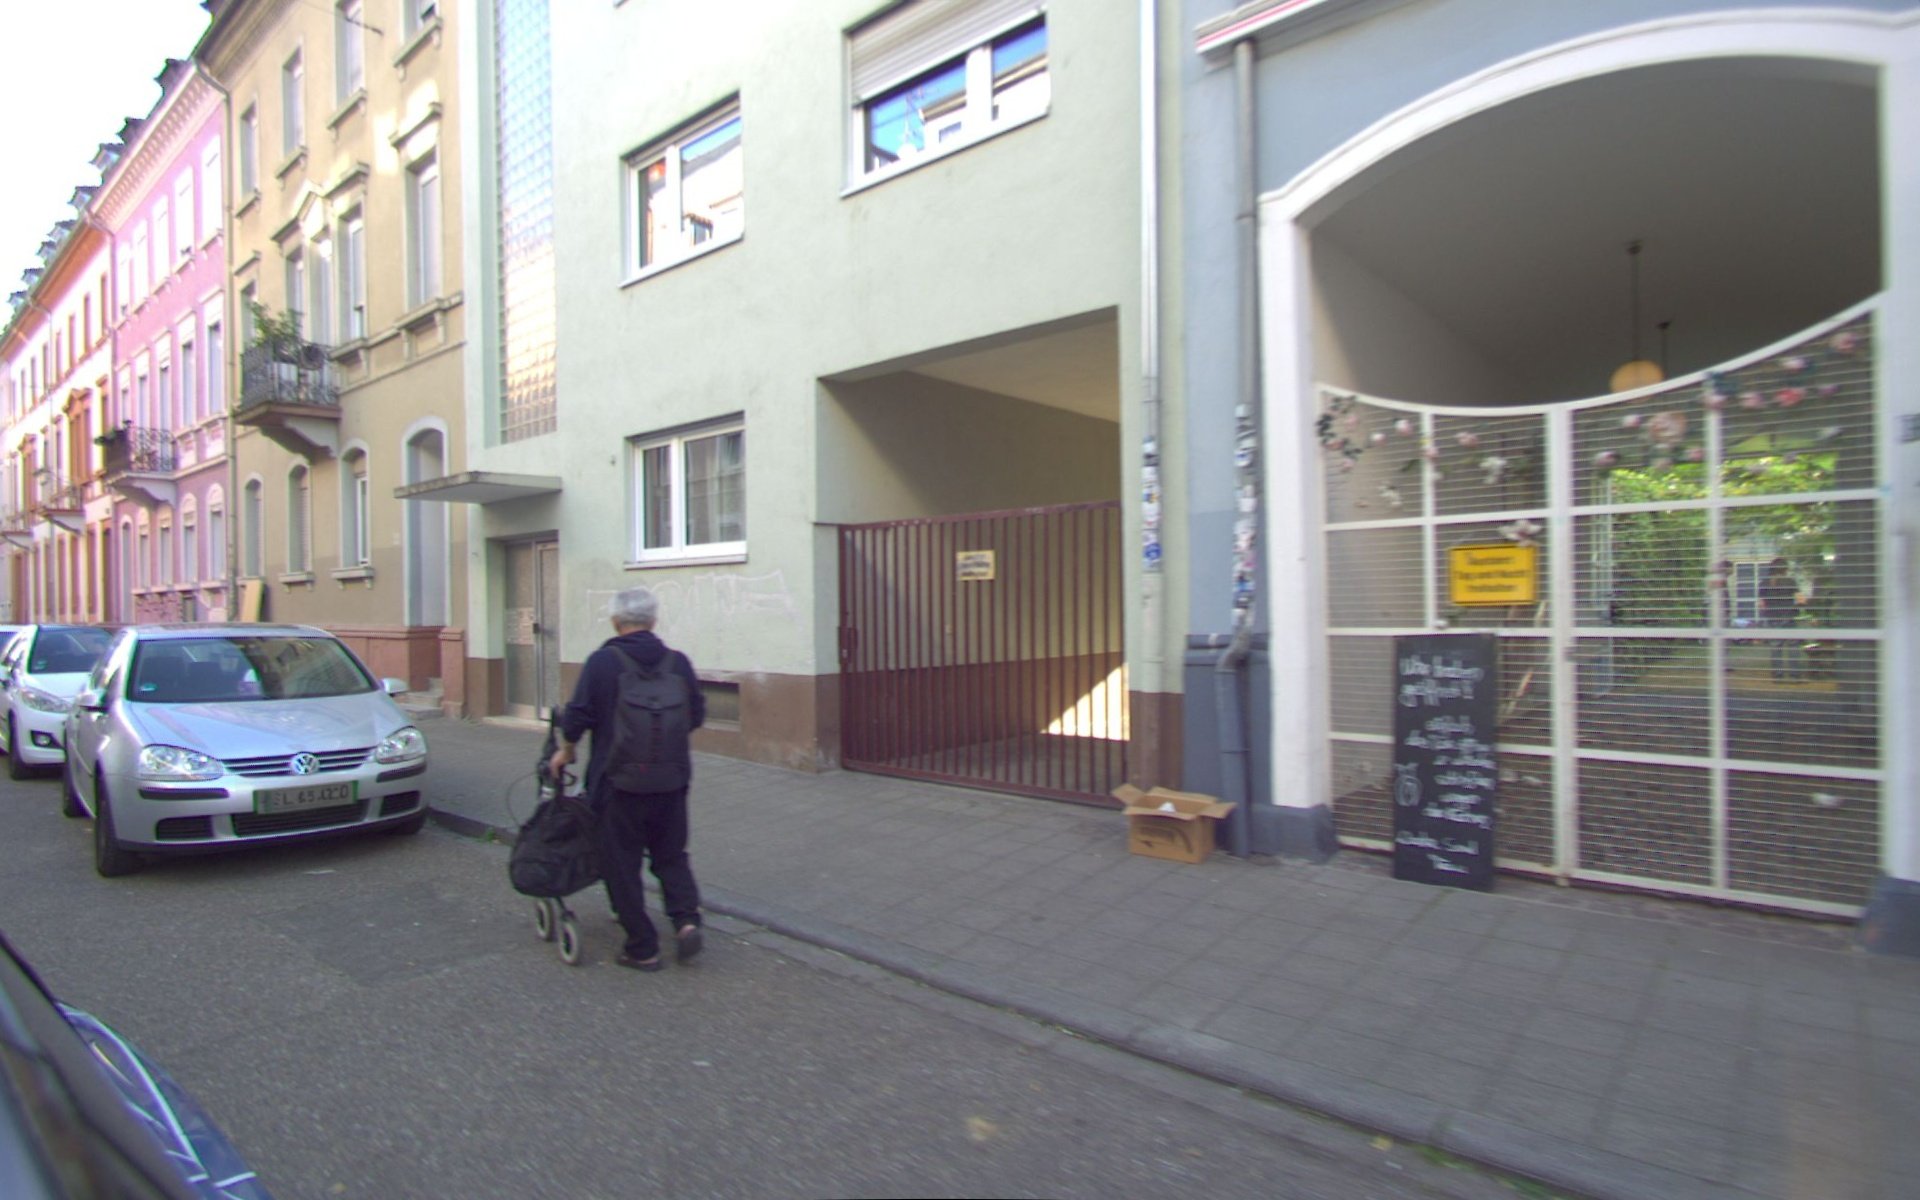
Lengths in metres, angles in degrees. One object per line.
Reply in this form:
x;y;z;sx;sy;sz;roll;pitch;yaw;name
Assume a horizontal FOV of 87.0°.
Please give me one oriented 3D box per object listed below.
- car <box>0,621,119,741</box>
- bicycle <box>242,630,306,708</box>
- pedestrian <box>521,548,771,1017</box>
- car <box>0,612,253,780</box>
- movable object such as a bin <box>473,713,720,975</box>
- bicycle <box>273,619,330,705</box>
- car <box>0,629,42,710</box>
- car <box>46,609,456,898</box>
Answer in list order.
-13.210;1.036;13.948;4.196;1.473;1.770;-1;-2;40;car
-10.406;1.022;15.340;1.493;1.110;0.413;-1;0;41;bicycle
-1.294;0.666;4.195;0.671;1.720;0.706;-1;1;40;pedestrian
-9.249;0.894;10.878;3.997;1.463;1.771;-1;-1;40;car
-1.596;1.014;4.485;0.585;0.904;0.835;-1;1;41;movable object such as a bin
-10.203;0.939;15.670;1.493;1.269;0.315;-1;0;41;bicycle
-18.313;1.227;18.641;4.302;1.401;1.708;-2;-2;43;car
-5.179;0.833;7.164;4.035;1.466;1.662;-2;-2;44;car
